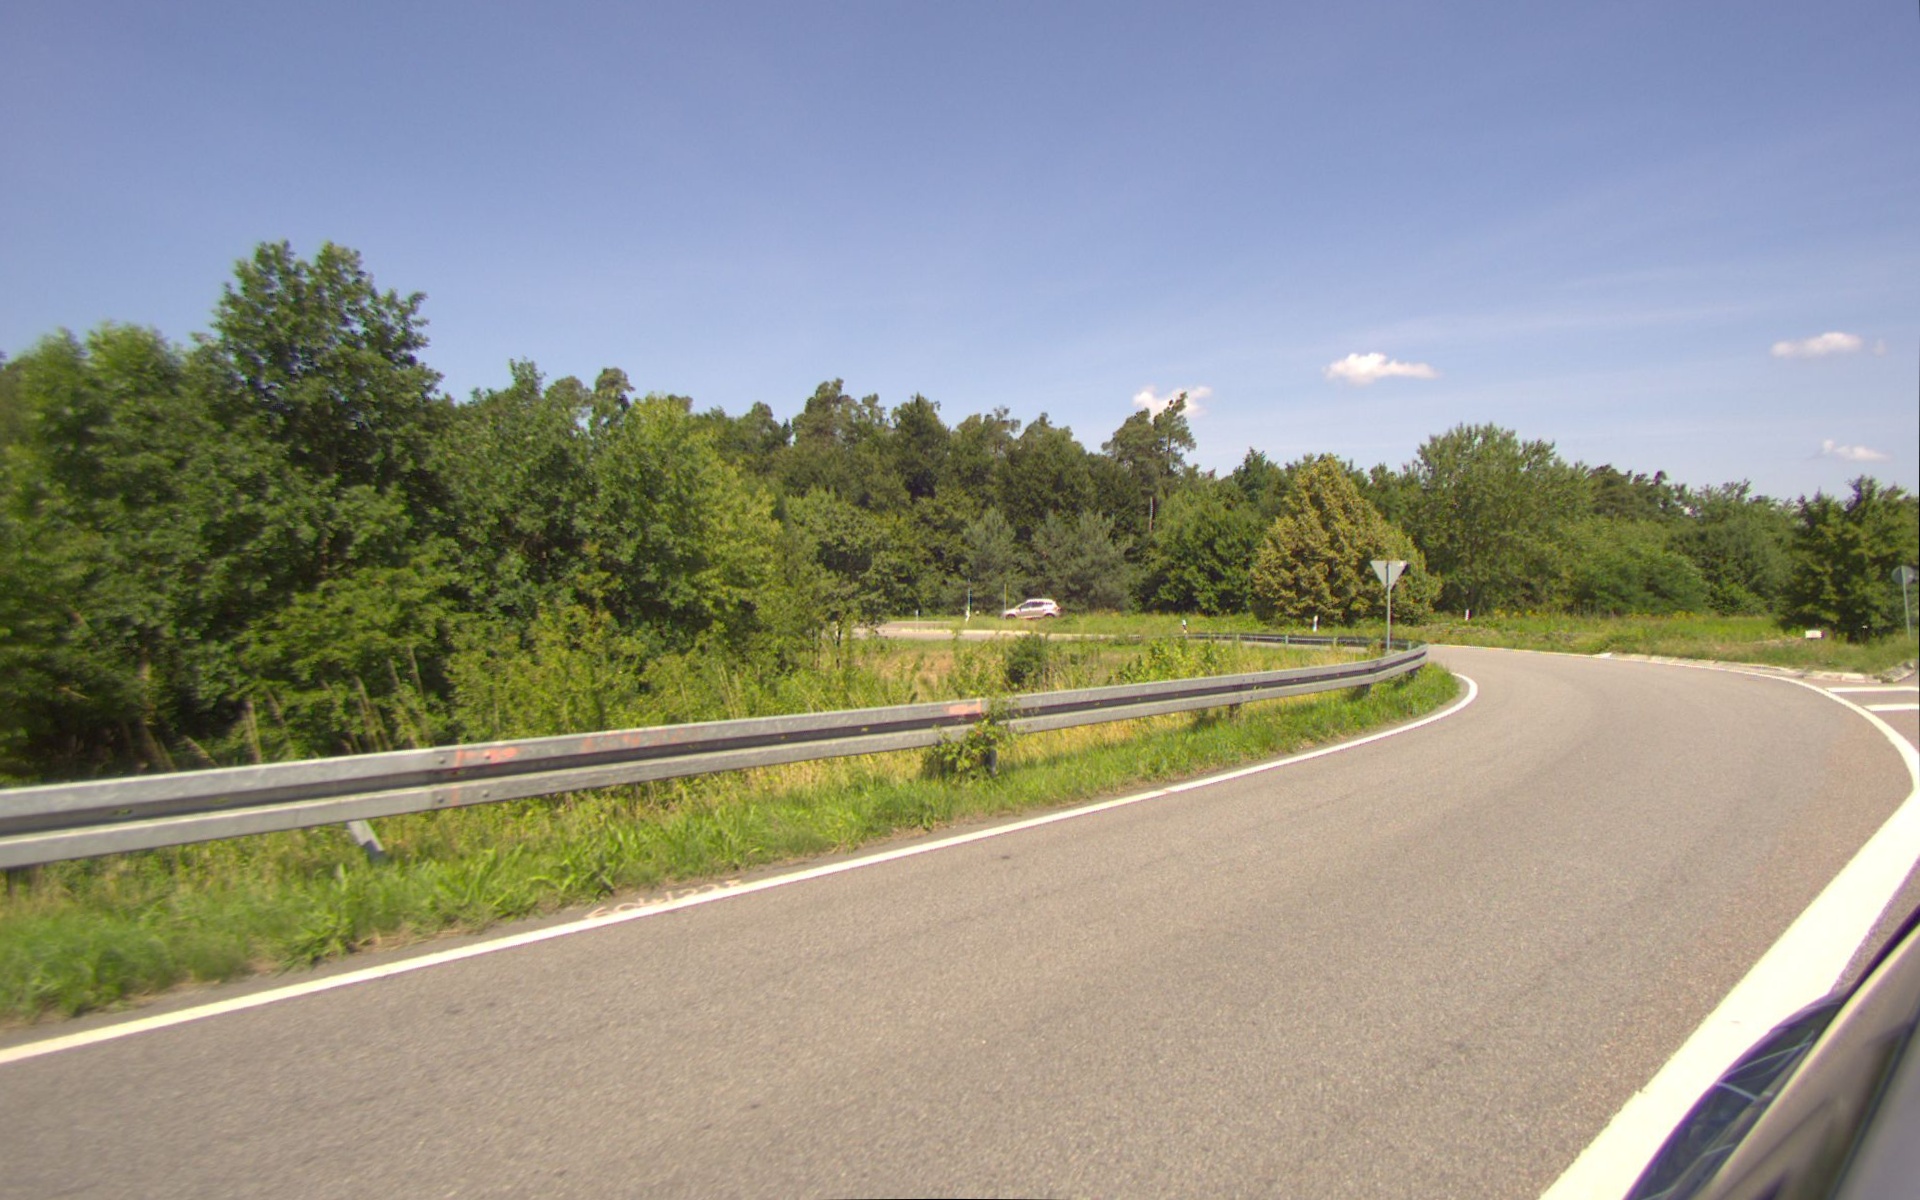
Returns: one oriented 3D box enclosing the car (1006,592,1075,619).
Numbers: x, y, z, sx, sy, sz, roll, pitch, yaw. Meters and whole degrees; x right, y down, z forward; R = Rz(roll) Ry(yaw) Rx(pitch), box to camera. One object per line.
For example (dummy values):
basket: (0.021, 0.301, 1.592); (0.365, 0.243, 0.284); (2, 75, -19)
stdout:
car: (5.469, 0.409, 69.327); (4.579, 1.687, 1.899); (-2, -1, 2)
